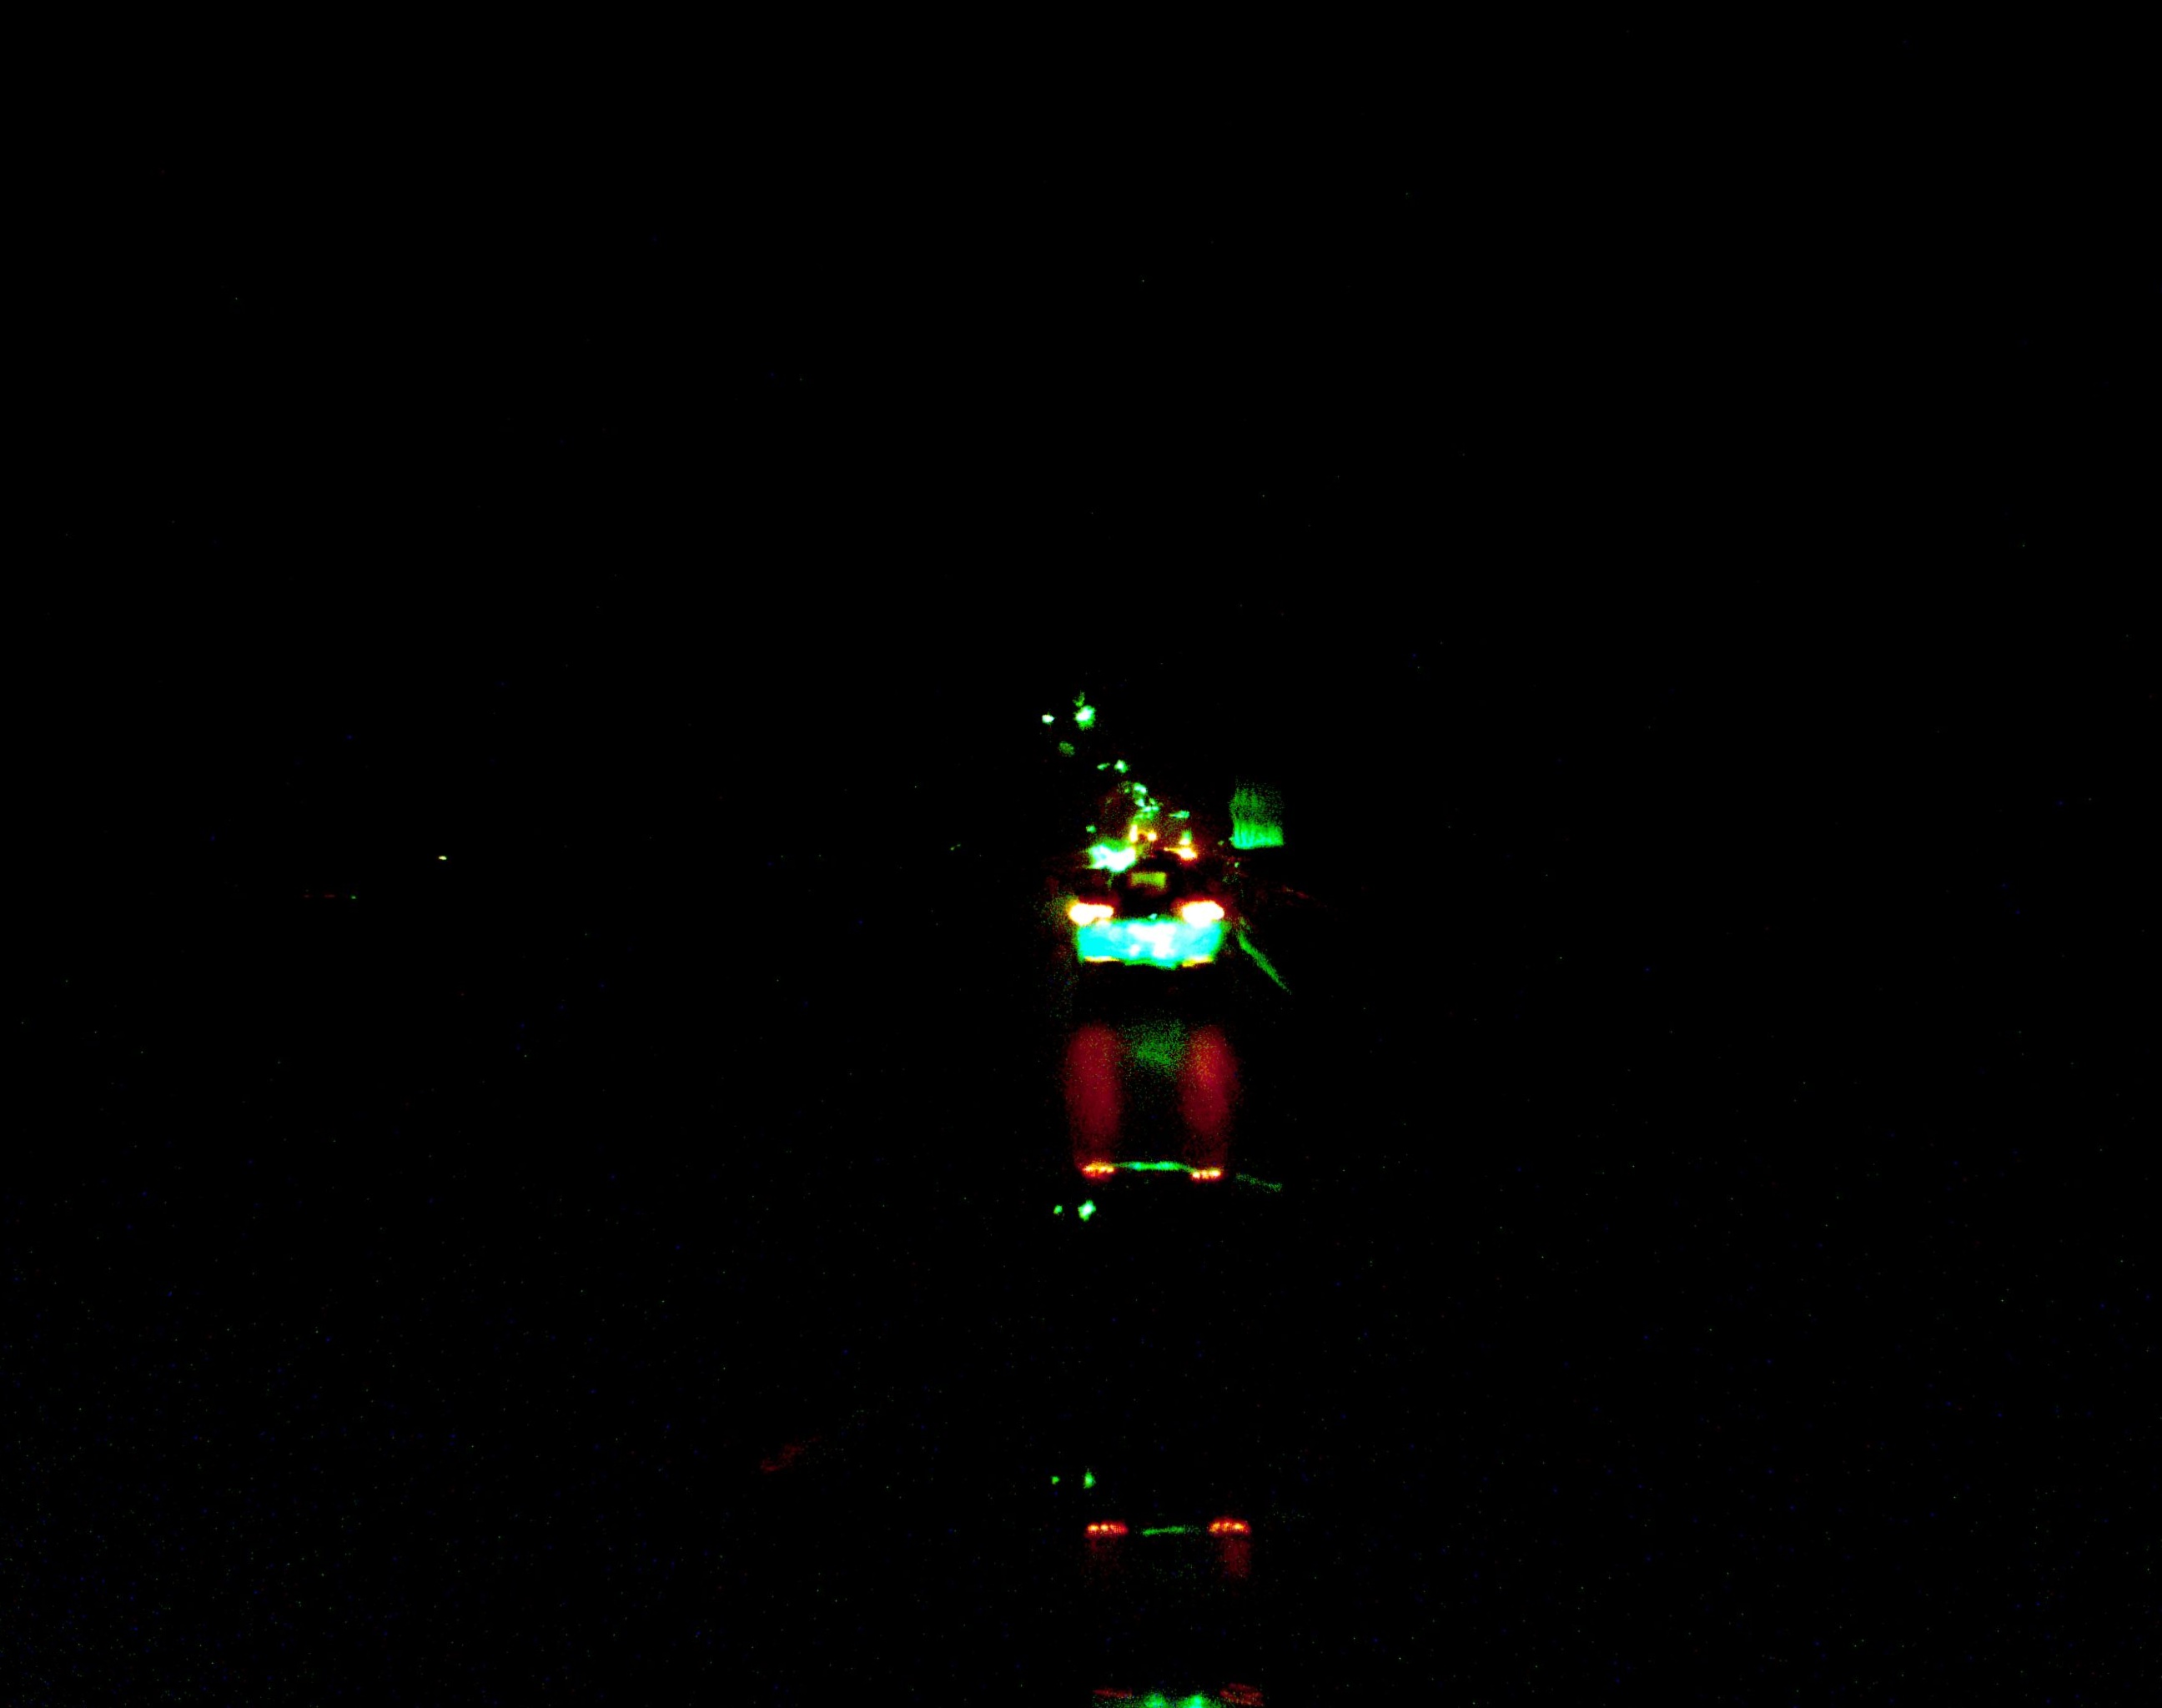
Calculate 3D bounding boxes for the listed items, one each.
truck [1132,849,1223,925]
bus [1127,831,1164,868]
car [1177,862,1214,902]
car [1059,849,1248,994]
[{"bbox_3d":[3.833,1.187,31.055,3.051,2.528,7.184,0,-1,9],"label":"truck"},{"bbox_3d":[5.862,-0.392,72.658,2.728,3.123,9.221,0,0,8],"label":"bus"},{"bbox_3d":[5.943,1.424,42.458,1.826,1.948,4.007,0,-1,7],"label":"car"},{"bbox_3d":[1.034,0.721,10.331,1.933,1.491,3.725,-1,-1,9],"label":"car"}]
